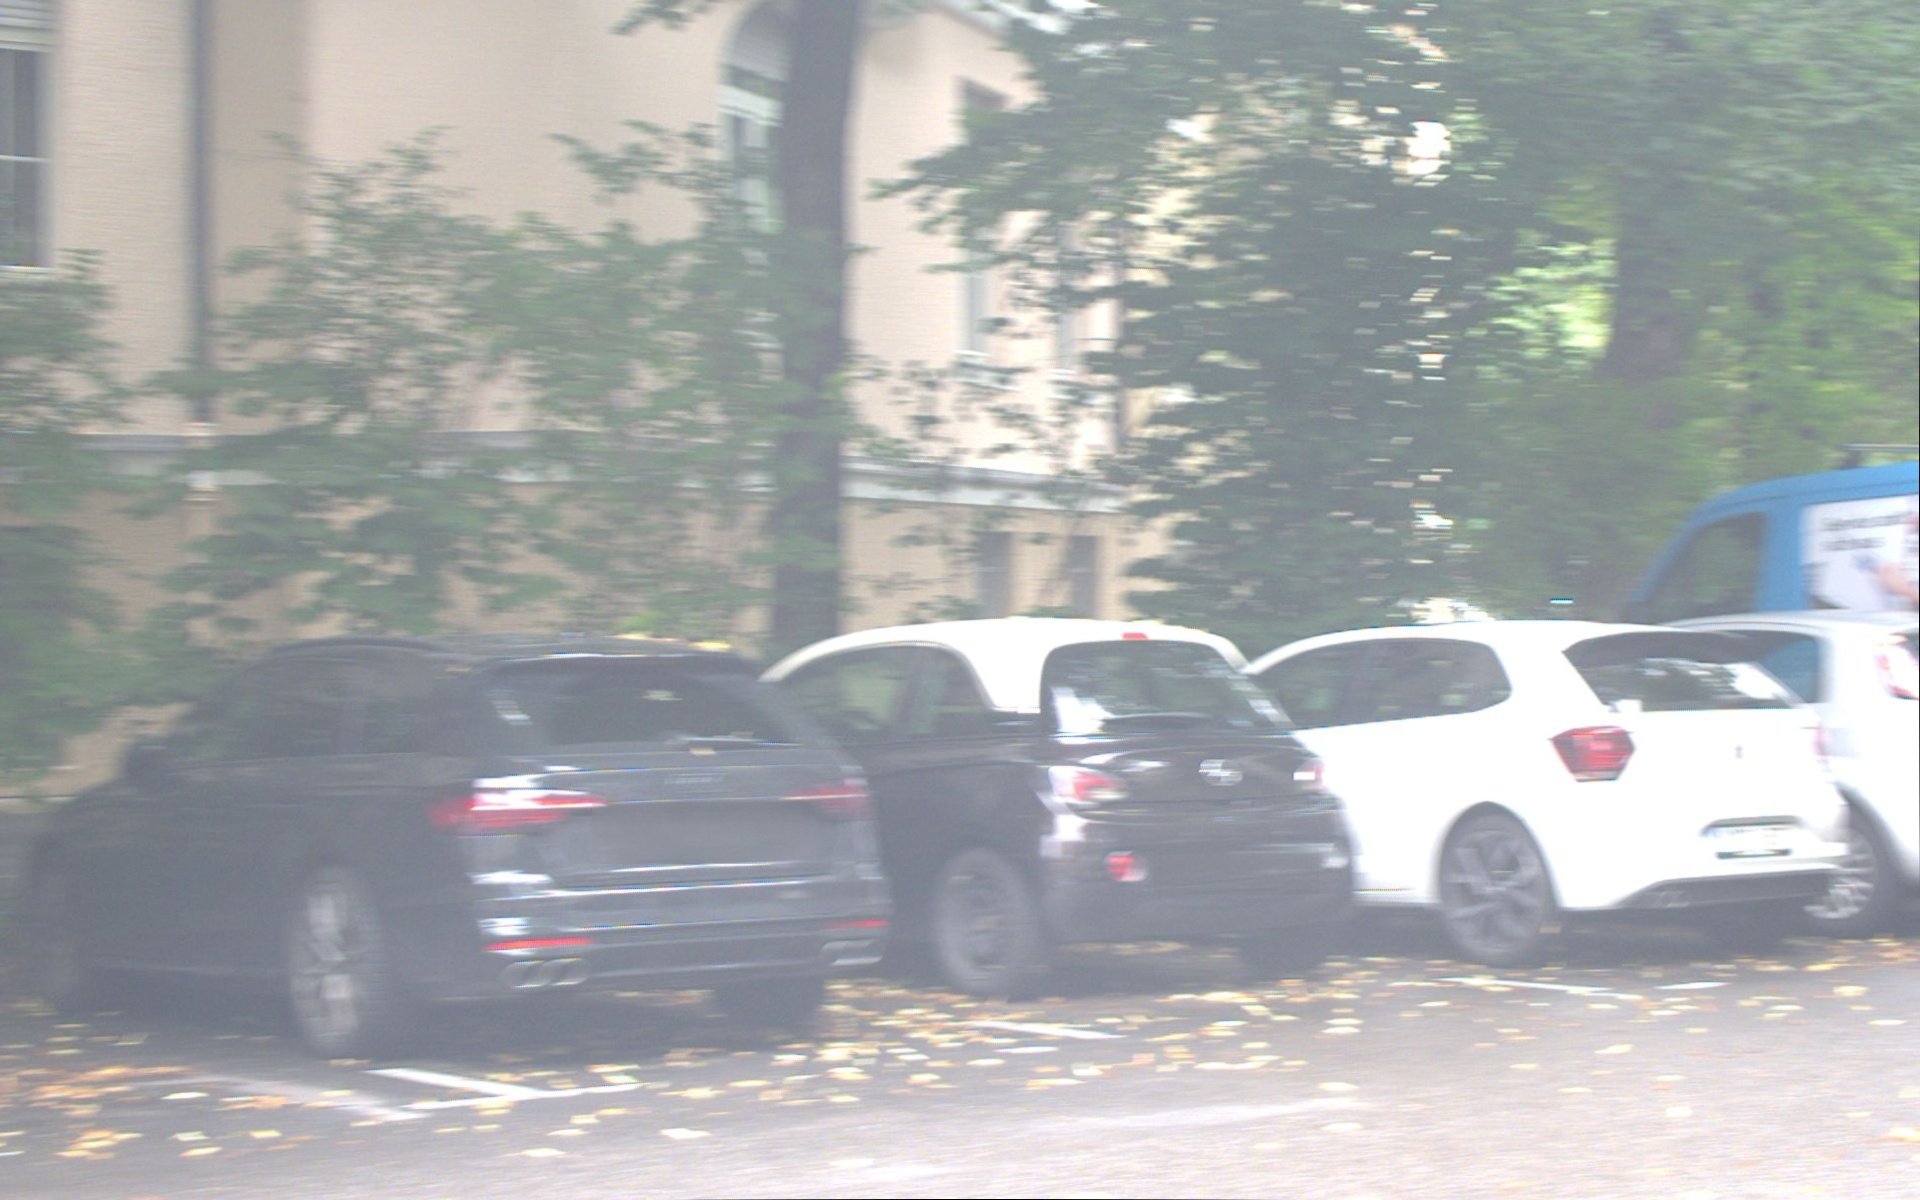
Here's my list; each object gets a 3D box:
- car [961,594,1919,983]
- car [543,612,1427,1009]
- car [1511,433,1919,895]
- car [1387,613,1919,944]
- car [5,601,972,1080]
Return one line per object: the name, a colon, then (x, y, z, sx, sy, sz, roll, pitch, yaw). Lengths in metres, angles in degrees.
car: (2.026, 0.858, 15.639, 1.798, 1.508, 4.284, 0, -3, -37)
car: (-0.028, 0.871, 14.480, 1.827, 1.421, 3.748, 0, -3, -35)
car: (5.626, 0.332, 18.172, 2.059, 2.346, 5.494, 0, -2, -35)
car: (3.887, 0.806, 16.671, 1.639, 1.428, 3.553, 0, -1, -35)
car: (-1.898, 0.795, 12.567, 1.858, 1.421, 4.162, 0, -2, -33)
